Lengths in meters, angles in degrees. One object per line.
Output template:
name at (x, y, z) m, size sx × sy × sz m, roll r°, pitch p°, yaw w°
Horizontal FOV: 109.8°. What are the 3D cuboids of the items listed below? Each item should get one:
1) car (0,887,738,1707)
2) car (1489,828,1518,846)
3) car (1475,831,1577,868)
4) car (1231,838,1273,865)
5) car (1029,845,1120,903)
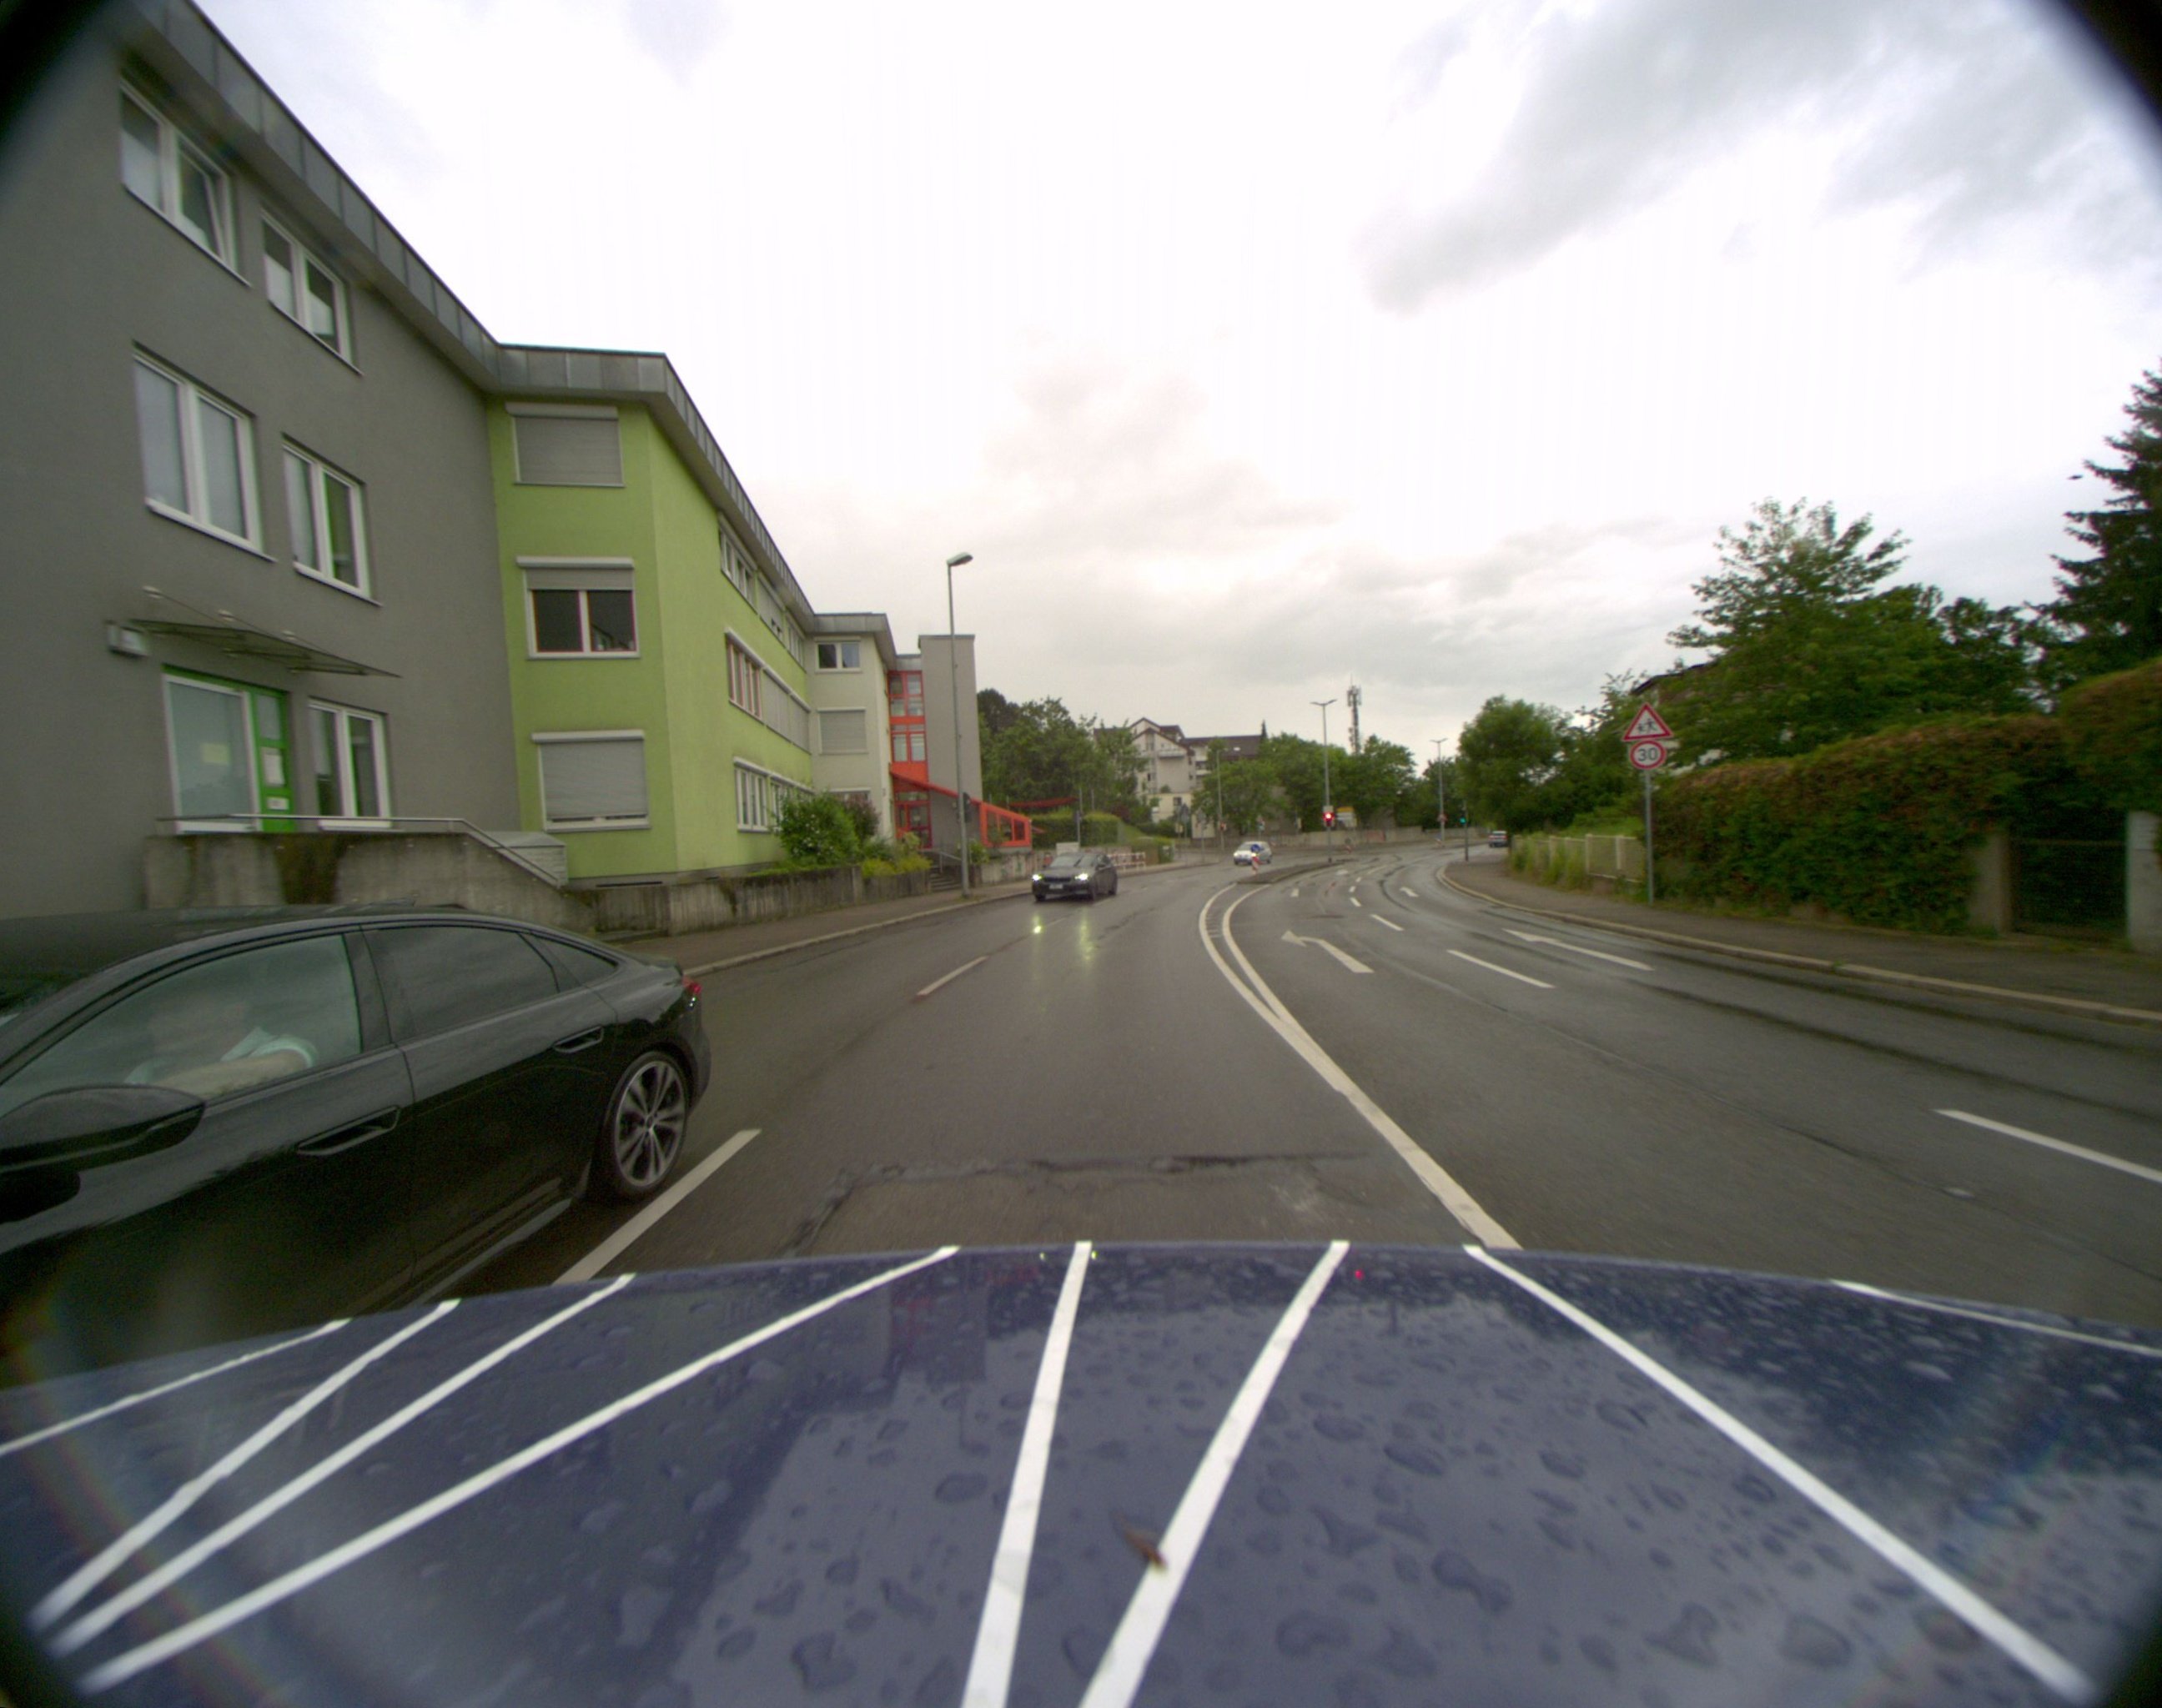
car at (-2.948, 1.037, 1.938) m, size 1.871 × 1.416 × 4.737 m, roll -3°, pitch 3°, yaw 1°
car at (41.218, -1.672, 74.054) m, size 1.676 × 1.442 × 4.696 m, roll 0°, pitch 3°, yaw 38°
car at (21.550, -0.208, 36.989) m, size 3.992 × 1.386 × 1.935 m, roll -6°, pitch 0°, yaw 23°
car at (11.894, -0.211, 52.734) m, size 1.995 × 1.647 × 4.005 m, roll -1°, pitch 3°, yaw 25°
car at (-0.107, 0.593, 24.570) m, size 1.870 × 1.511 × 4.002 m, roll -2°, pitch 3°, yaw 15°
